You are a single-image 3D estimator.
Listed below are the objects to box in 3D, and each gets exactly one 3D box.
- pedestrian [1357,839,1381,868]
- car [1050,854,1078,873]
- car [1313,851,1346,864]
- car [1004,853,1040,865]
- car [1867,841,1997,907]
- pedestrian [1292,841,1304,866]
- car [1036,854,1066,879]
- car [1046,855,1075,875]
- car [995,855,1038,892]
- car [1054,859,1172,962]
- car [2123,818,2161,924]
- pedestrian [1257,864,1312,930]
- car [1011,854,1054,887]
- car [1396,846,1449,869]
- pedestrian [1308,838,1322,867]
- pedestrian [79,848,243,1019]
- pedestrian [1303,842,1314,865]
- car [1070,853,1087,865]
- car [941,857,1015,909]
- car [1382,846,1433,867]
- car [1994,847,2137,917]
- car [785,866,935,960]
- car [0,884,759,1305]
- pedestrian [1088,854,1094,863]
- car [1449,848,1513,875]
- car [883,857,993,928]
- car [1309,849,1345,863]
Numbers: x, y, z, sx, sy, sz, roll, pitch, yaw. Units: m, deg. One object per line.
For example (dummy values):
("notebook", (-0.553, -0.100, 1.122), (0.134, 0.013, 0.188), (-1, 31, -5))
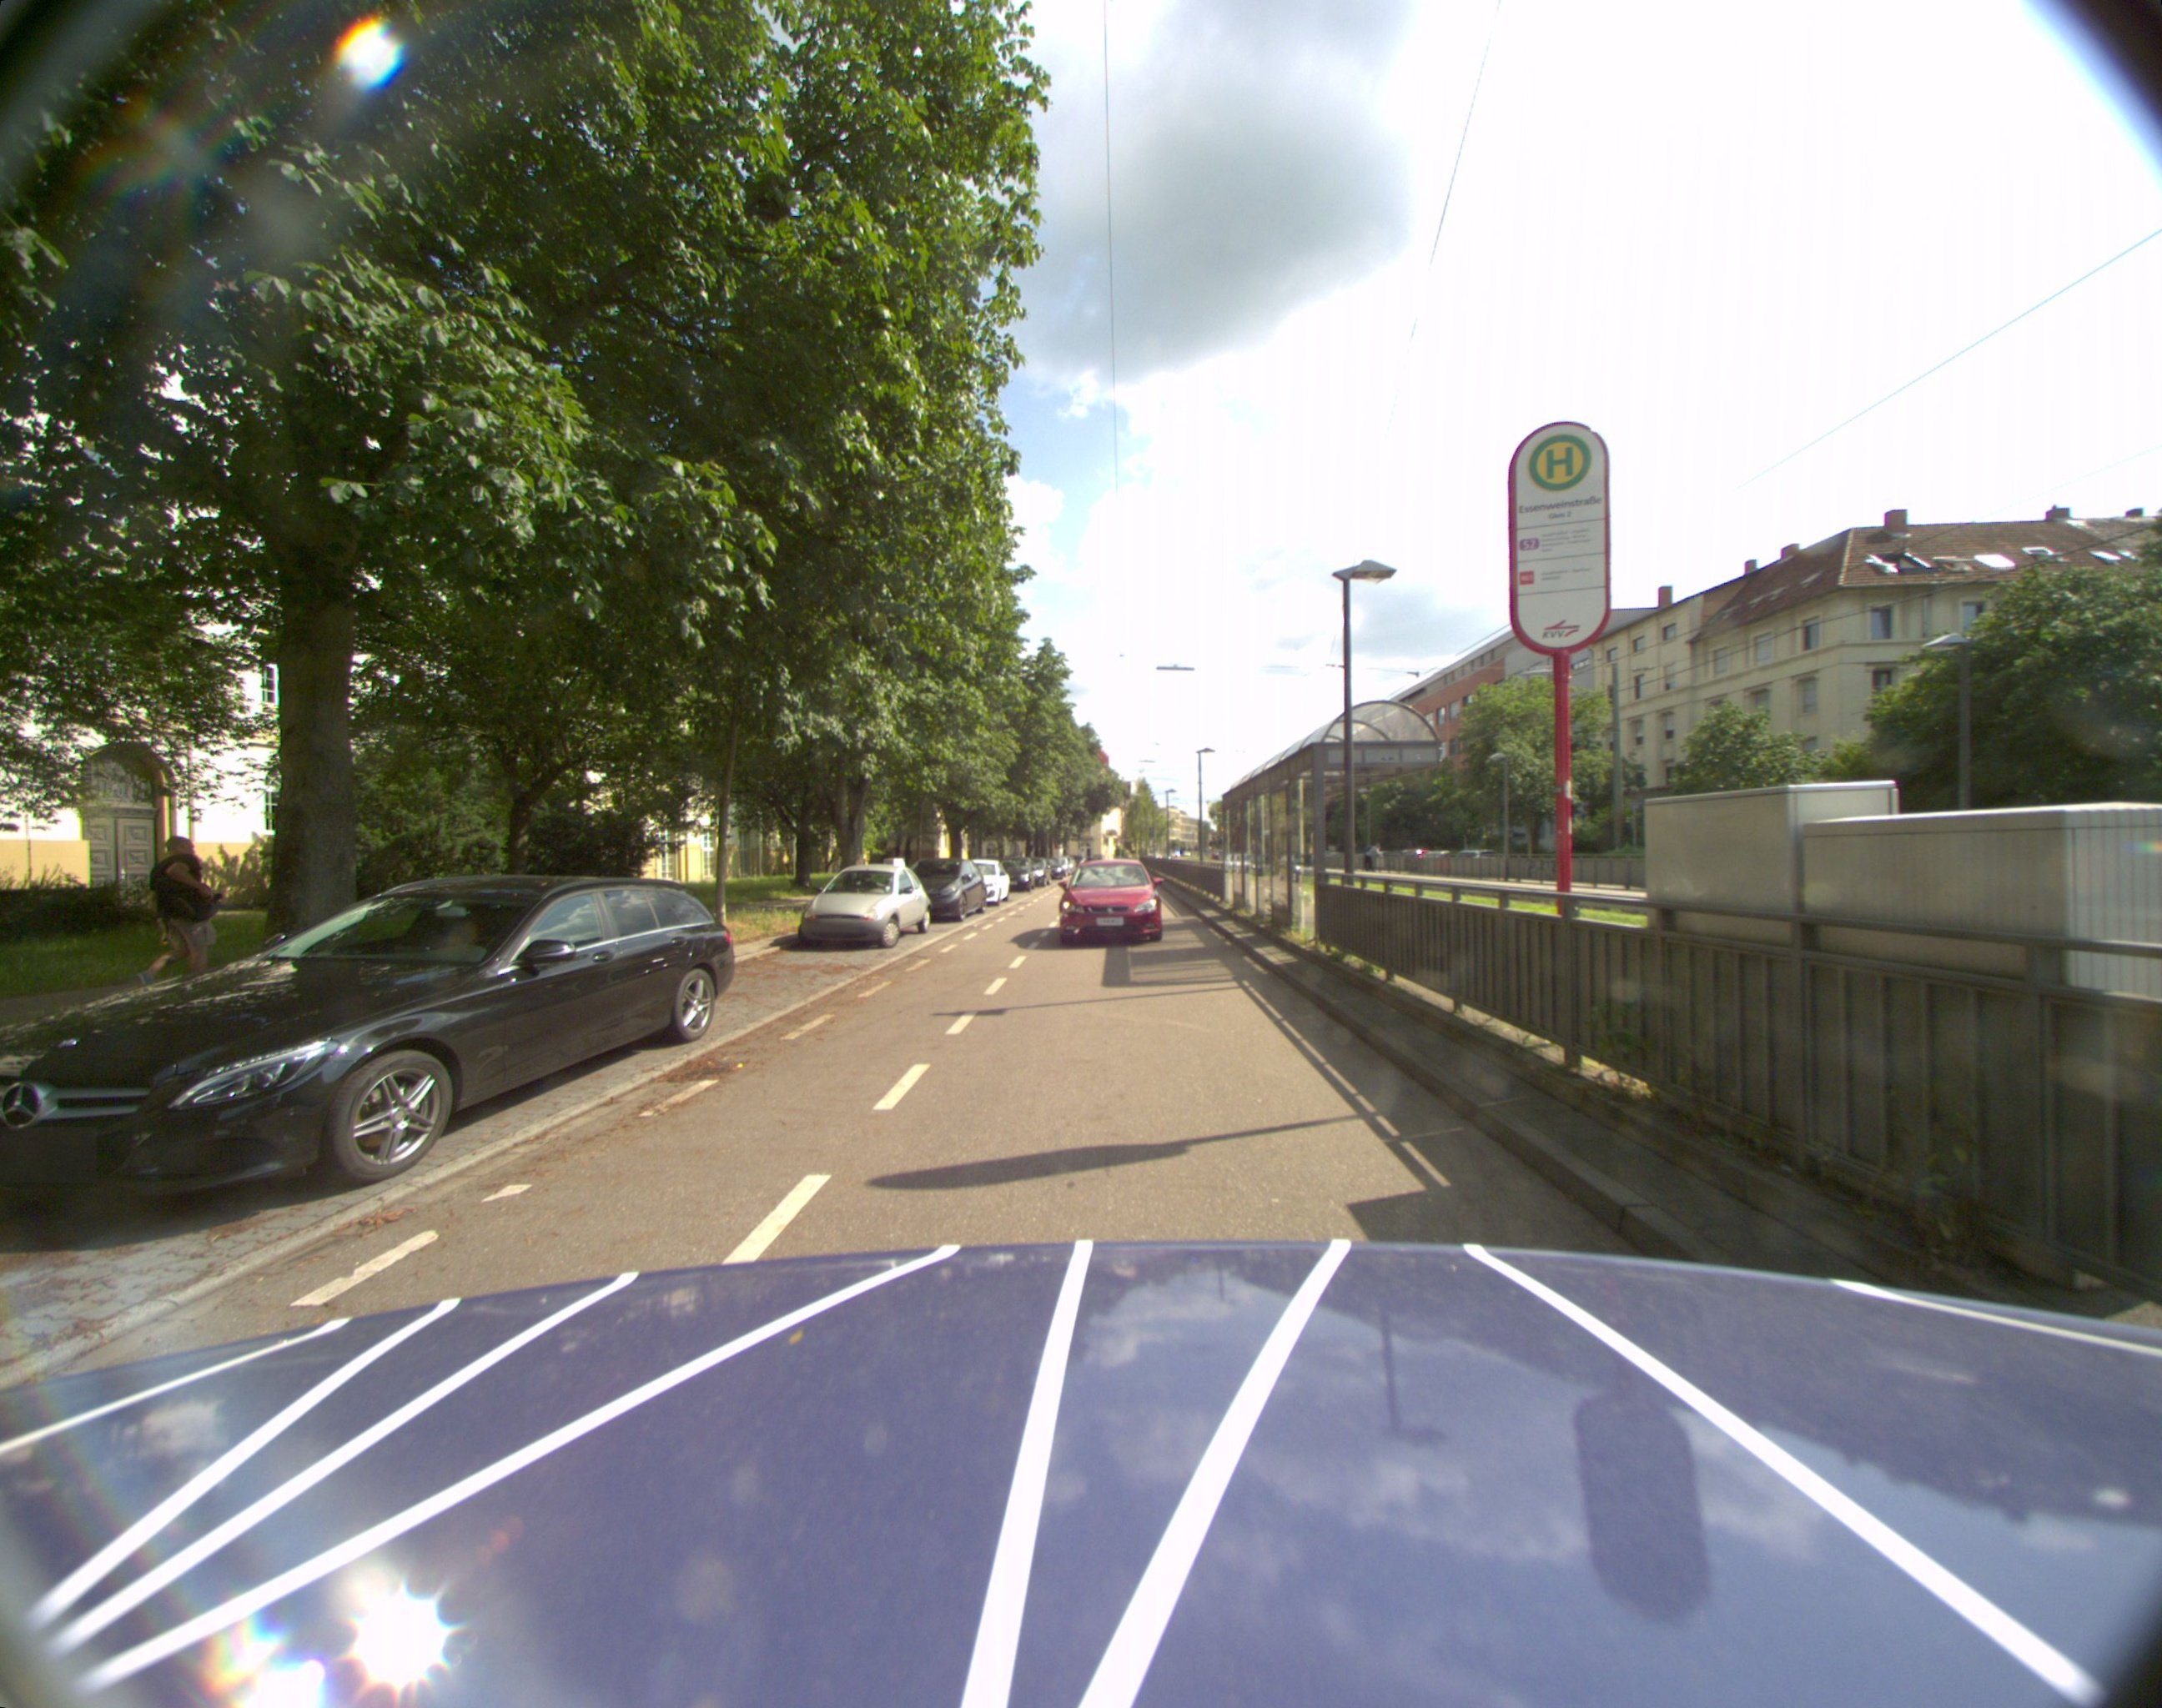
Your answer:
("pedestrian", (15.632, -0.019, 41.270), (0.991, 1.569, 0.798), (-1, 1, 0))
("car", (-1.340, 0.720, 62.039), (1.833, 1.433, 5.050), (2, 0, 3))
("car", (26.283, 0.414, 80.312), (3.258, 1.296, 1.600), (-1, 0, -32))
("car", (-8.590, 0.690, 111.402), (4.827, 1.646, 1.858), (-1, 2, 13))
("car", (23.369, 0.497, 20.832), (4.007, 1.630, 1.823), (-1, -1, -34))
("pedestrian", (15.675, -0.045, 54.964), (0.607, 1.744, 0.626), (0, 2, 43))
("car", (-1.948, 0.791, 50.901), (1.836, 1.458, 4.829), (1, 1, -1))
("car", (-1.483, 0.812, 56.830), (1.639, 1.423, 4.016), (2, 0, 5))
("car", (-2.835, 0.845, 34.127), (1.559, 1.453, 3.558), (2, 1, 0))
("car", (0.588, 0.907, 13.905), (1.790, 1.499, 4.000), (-2, 0, 3))
("car", (22.928, 0.289, 15.131), (3.957, 2.058, 2.045), (-1, 0, -28))
("pedestrian", (3.460, 0.708, 12.911), (0.662, 1.066, 0.725), (-1, 0, 37))
("car", (-2.429, 0.810, 39.310), (1.694, 1.552, 4.308), (2, 0, 3))
("car", (25.518, 0.229, 56.717), (4.144, 1.630, 1.829), (-1, 1, -37))
("pedestrian", (15.480, -0.088, 50.241), (0.752, 1.881, 0.639), (-1, 3, 5))
("pedestrian", (-9.565, 0.790, 7.927), (0.746, 1.686, 0.767), (-1, 1, 7))
("pedestrian", (16.396, -0.043, 54.795), (0.608, 1.665, 0.625), (-1, 2, 3))
("car", (-0.277, 0.544, 89.269), (1.689, 1.379, 3.924), (0, 1, 3))
("car", (-3.351, 0.885, 25.402), (1.840, 1.515, 4.253), (1, 0, 0))
("car", (25.619, 0.207, 59.611), (4.006, 1.559, 1.606), (-1, 0, -31))
("car", (23.519, 0.598, 18.128), (4.006, 1.477, 1.606), (-1, 0, -30))
("car", (-3.974, 0.997, 14.261), (1.594, 1.437, 3.598), (1, 1, 3))
("car", (-4.348, 1.042, 5.411), (1.922, 1.433, 4.797), (1, 0, 2))
("pedestrian", (1.521, 0.639, 112.899), (0.804, 1.238, 0.892), (-1, 2, 5))
("car", (24.794, 0.439, 47.069), (4.161, 1.556, 1.921), (-1, 1, -38))
("car", (-3.572, 0.896, 19.805), (1.729, 1.574, 4.678), (0, 0, 3))
("car", (27.145, 0.198, 83.873), (4.007, 1.487, 1.647), (-1, 0, -34))
